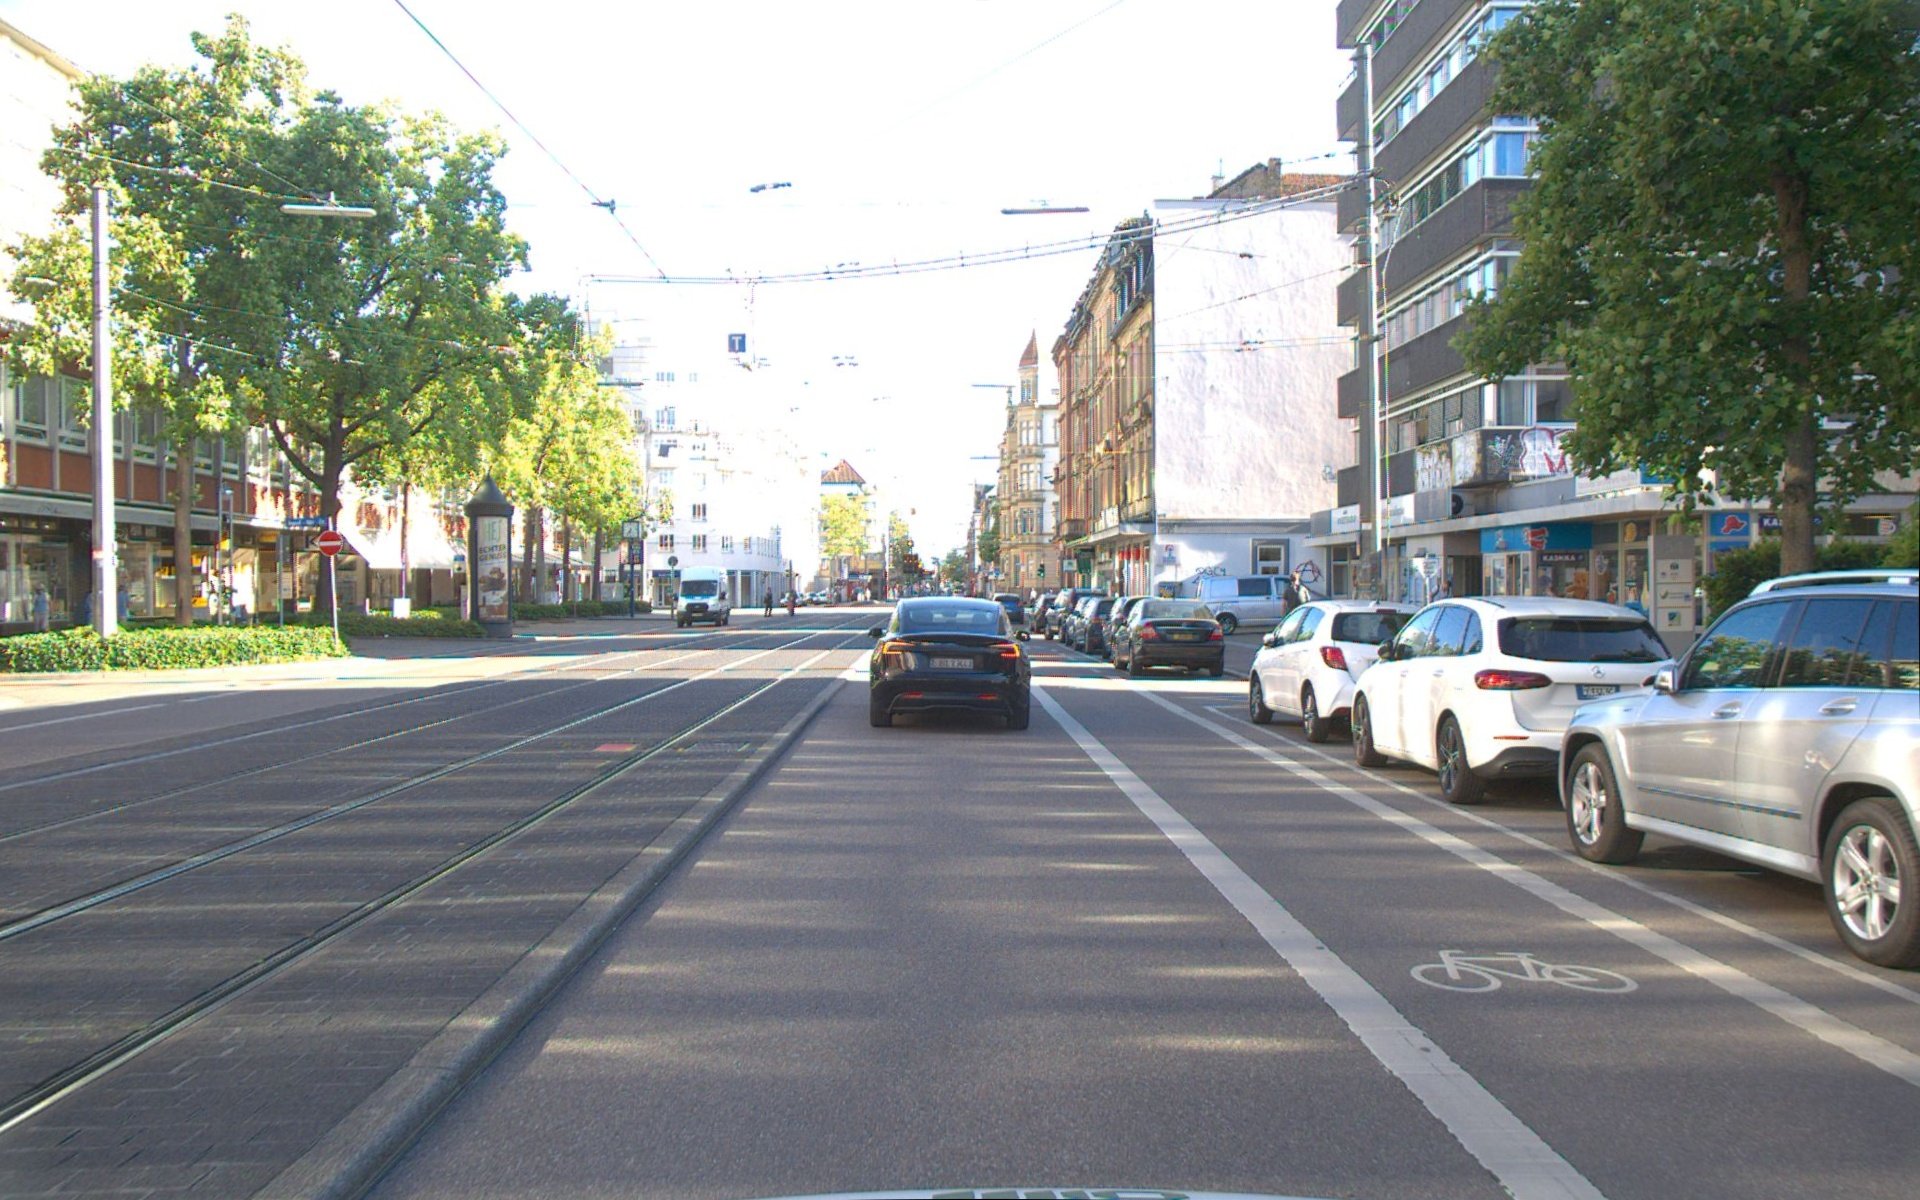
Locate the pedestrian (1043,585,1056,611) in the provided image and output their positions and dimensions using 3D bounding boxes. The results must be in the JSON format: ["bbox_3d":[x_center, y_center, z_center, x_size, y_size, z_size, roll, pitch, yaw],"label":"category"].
[{"bbox_3d":[5.645,-0.148,104.395,0.734,1.645,0.705,0,-1,-3],"label":"pedestrian"}]

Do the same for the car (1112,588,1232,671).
[{"bbox_3d":[4.096,0.553,32.629,1.676,1.482,4.549,1,0,-1],"label":"car"}]

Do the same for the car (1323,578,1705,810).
[{"bbox_3d":[4.382,0.656,13.832,1.511,1.597,4.441,1,0,-3],"label":"car"}]

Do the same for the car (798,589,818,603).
[{"bbox_3d":[-17.413,-0.501,189.862,1.953,1.521,3.999,-1,0,-1],"label":"car"}]

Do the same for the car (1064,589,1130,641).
[{"bbox_3d":[4.052,0.466,49.423,1.547,1.469,3.912,1,-1,-2],"label":"car"}]

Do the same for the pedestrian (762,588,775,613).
[{"bbox_3d":[-11.725,0.048,101.256,0.687,1.528,0.795,1,0,0],"label":"pedestrian"}]

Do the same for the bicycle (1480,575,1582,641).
[{"bbox_3d":[10.288,0.142,29.824,1.646,1.160,0.579,0,0,2],"label":"bicycle"}]

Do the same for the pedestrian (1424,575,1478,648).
[{"bbox_3d":[12.068,0.279,40.629,1.130,1.759,1.043,0,1,24],"label":"pedestrian"}]

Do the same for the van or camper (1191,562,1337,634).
[{"bbox_3d":[10.198,-0.060,55.832,4.547,2.173,1.988,-3,-1,3],"label":"van or camper"}]

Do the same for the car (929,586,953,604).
[{"bbox_3d":[-1.818,-0.461,157.106,1.955,1.552,3.995,1,-1,-5],"label":"car"}]

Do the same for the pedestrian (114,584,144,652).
[{"bbox_3d":[-22.939,0.490,45.686,0.535,1.833,0.587,2,0,-10],"label":"pedestrian"}]

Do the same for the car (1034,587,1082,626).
[{"bbox_3d":[3.841,0.251,65.219,1.680,1.498,3.719,0,0,0],"label":"car"}]

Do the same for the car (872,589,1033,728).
[{"bbox_3d":[-0.137,0.613,19.516,1.685,1.430,3.708,1,0,-2],"label":"car"}]

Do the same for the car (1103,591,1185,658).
[{"bbox_3d":[4.269,0.569,38.764,1.546,1.472,3.309,1,-1,0],"label":"car"}]

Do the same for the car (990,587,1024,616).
[{"bbox_3d":[2.342,0.080,82.953,1.561,1.458,3.686,0,0,0],"label":"car"}]

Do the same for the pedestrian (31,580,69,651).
[{"bbox_3d":[-24.465,0.423,44.478,0.614,1.879,0.672,2,0,-4],"label":"pedestrian"}]

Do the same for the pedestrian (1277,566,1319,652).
[{"bbox_3d":[7.387,0.193,36.153,0.707,1.844,0.889,0,0,-1],"label":"pedestrian"}]

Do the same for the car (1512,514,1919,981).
[{"bbox_3d":[4.683,0.592,8.453,1.887,1.866,4.709,1,0,-4],"label":"car"}]

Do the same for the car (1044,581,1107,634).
[{"bbox_3d":[3.765,0.282,54.452,1.792,1.657,4.095,1,-1,0],"label":"car"}]

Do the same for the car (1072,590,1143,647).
[{"bbox_3d":[3.911,0.505,44.301,1.432,1.457,3.812,1,-1,-2],"label":"car"}]

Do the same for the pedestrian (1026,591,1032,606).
[{"bbox_3d":[6.023,-0.140,144.600,0.432,1.242,0.389,0,0,-2],"label":"pedestrian"}]

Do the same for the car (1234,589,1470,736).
[{"bbox_3d":[4.426,0.664,19.230,1.570,1.468,3.882,2,0,-3],"label":"car"}]

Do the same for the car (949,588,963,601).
[{"bbox_3d":[-0.534,-0.719,221.041,1.808,1.620,4.000,-1,0,0],"label":"car"}]

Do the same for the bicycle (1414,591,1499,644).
[{"bbox_3d":[11.998,0.427,39.914,2.155,1.240,0.795,1,-1,-34],"label":"bicycle"}]

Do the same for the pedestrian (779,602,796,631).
[{"bbox_3d":[-10.269,0.979,98.422,0.826,1.725,0.797,2,0,6],"label":"pedestrian"}]

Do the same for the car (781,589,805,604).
[{"bbox_3d":[-16.690,-0.332,165.469,1.953,1.392,3.999,0,0,-1],"label":"car"}]

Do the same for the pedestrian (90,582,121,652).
[{"bbox_3d":[-23.555,0.453,45.593,0.580,1.905,0.537,2,0,-10],"label":"pedestrian"}]

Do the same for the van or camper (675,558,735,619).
[{"bbox_3d":[-11.864,-0.500,77.299,2.097,2.700,6.876,0,0,-3],"label":"van or camper"}]
